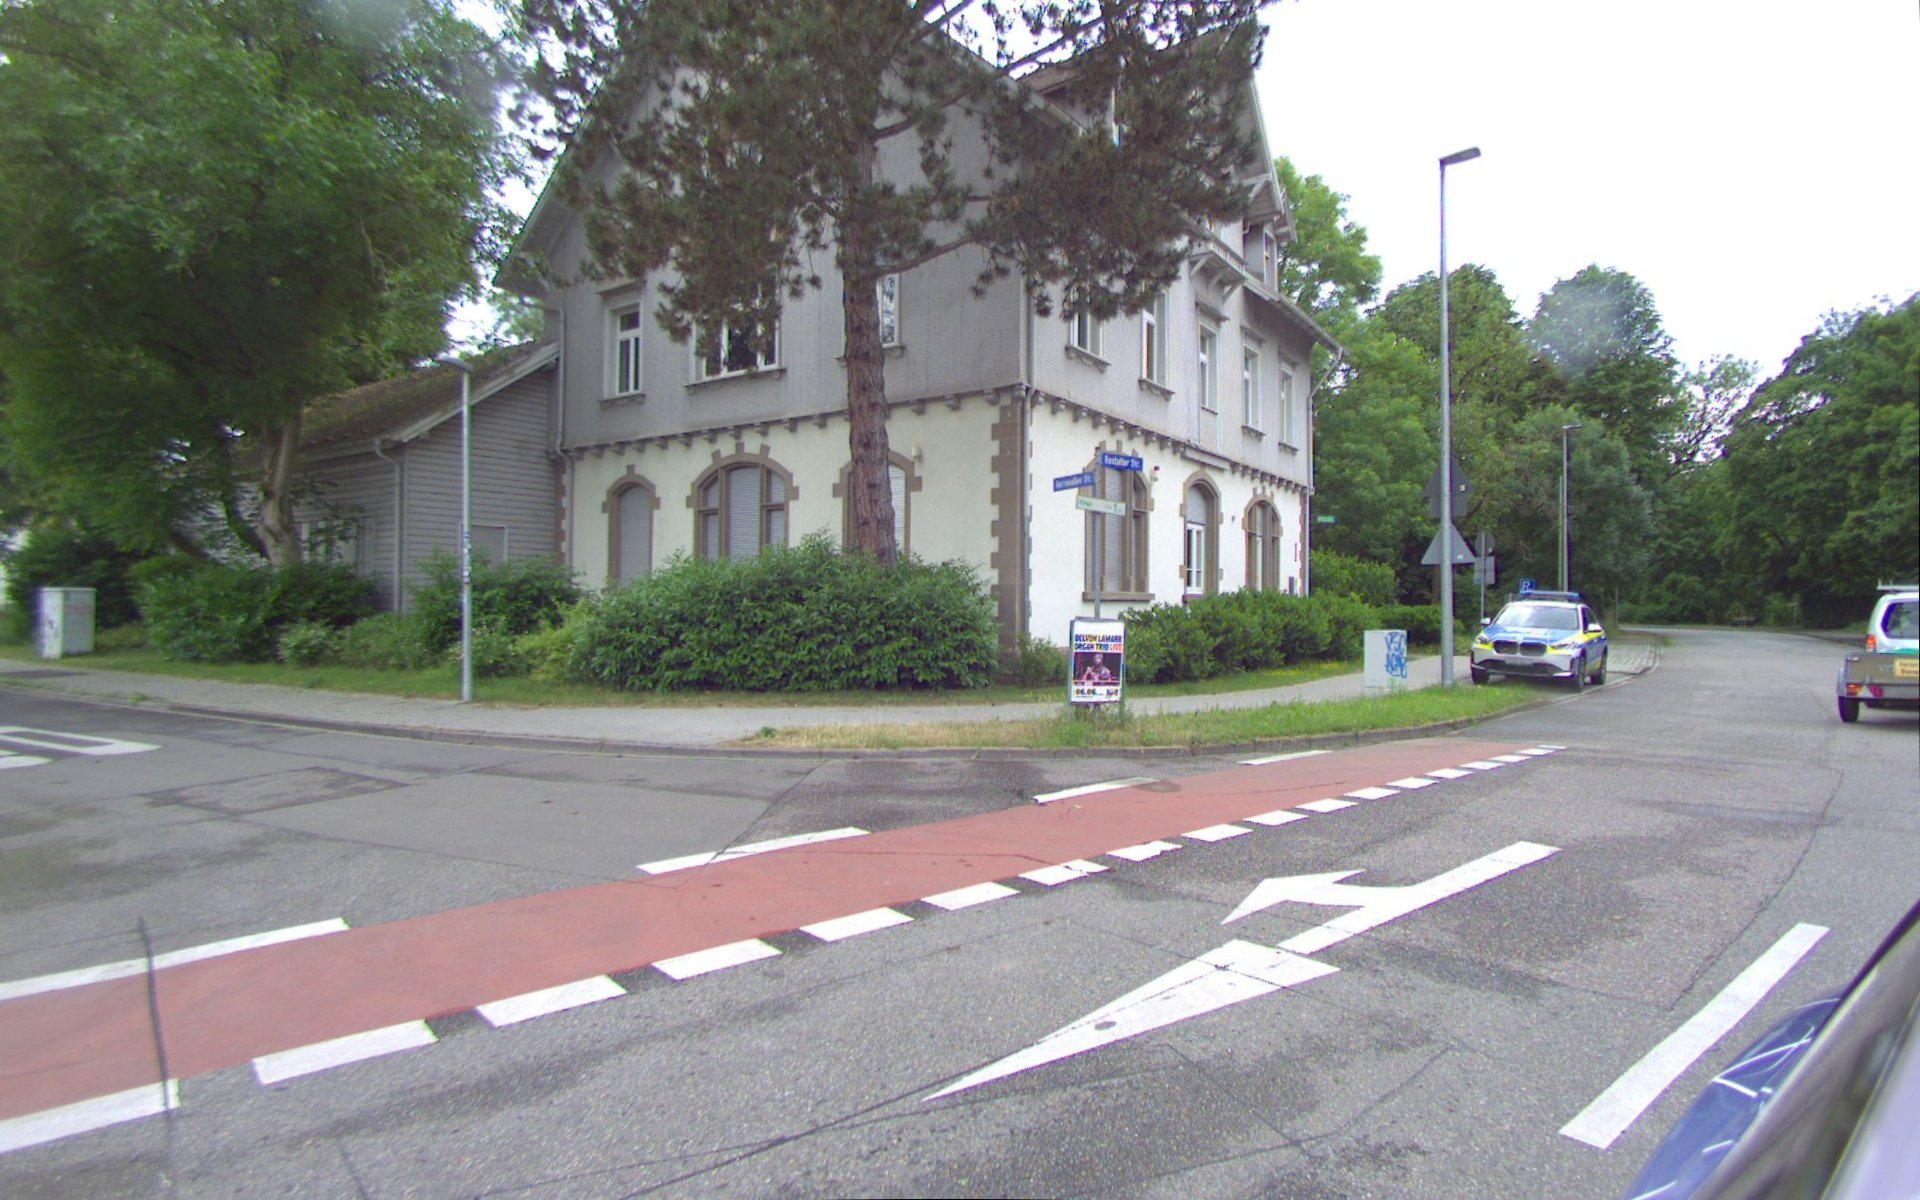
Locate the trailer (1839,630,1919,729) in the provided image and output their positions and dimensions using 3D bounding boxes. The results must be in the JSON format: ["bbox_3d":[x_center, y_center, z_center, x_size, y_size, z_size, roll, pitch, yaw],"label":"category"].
[{"bbox_3d":[12.424,0.968,12.875,3.407,0.998,1.568,-1,1,-43],"label":"trailer"}]

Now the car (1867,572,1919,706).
[{"bbox_3d":[15.282,0.541,15.272,4.152,1.881,2.090,0,1,-44],"label":"car"}]

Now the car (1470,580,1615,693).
[{"bbox_3d":[11.285,0.615,19.473,1.926,1.873,3.947,2,1,37],"label":"car"}]
